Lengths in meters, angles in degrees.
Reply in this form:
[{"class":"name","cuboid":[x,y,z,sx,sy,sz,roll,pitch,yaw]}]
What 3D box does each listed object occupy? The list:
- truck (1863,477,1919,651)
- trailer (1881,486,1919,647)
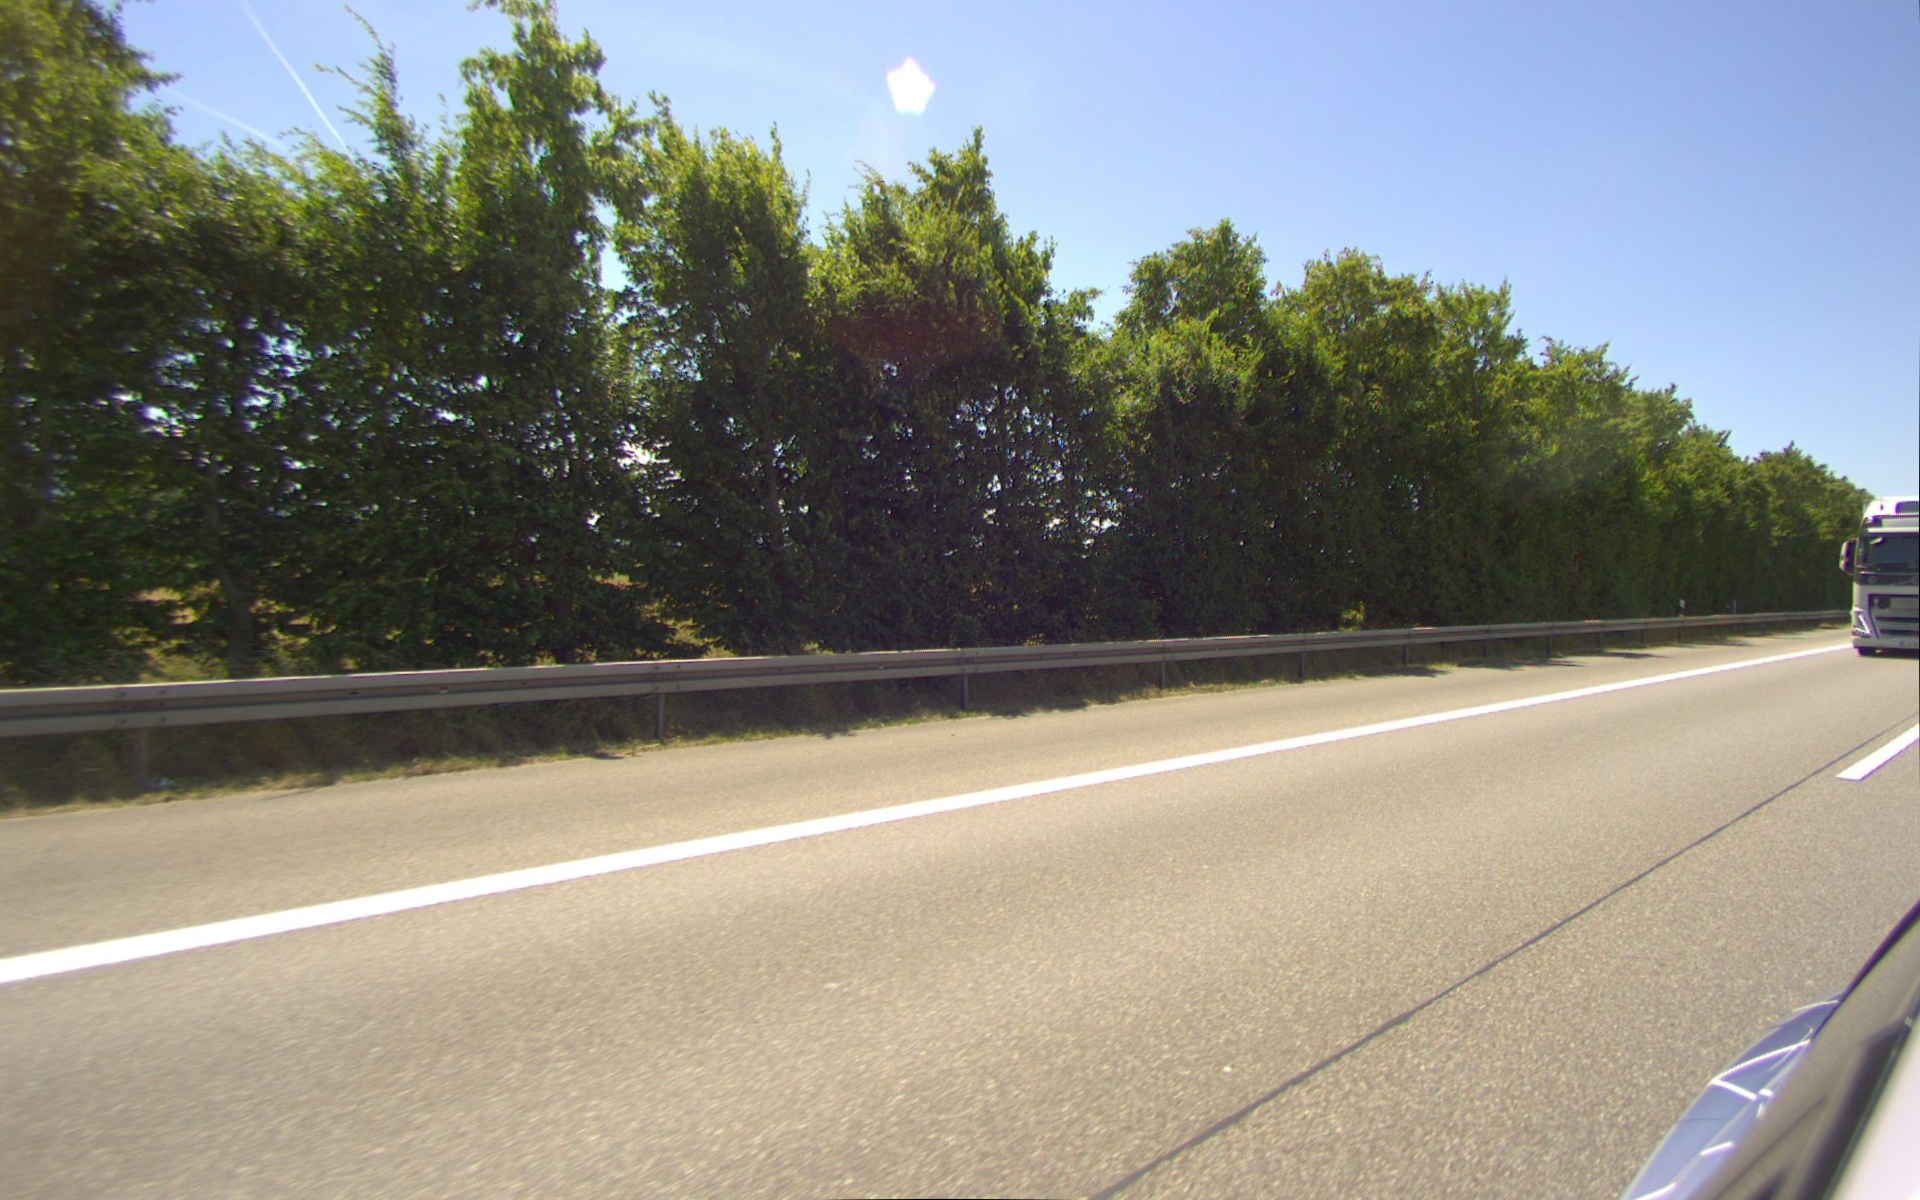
[{"class":"truck","cuboid":[25.243,-0.874,25.801,6.209,4.113,2.474,0,0,-41]},{"class":"trailer","cuboid":[30.004,-0.922,29.896,13.637,4.113,2.474,-1,0,-41]}]
